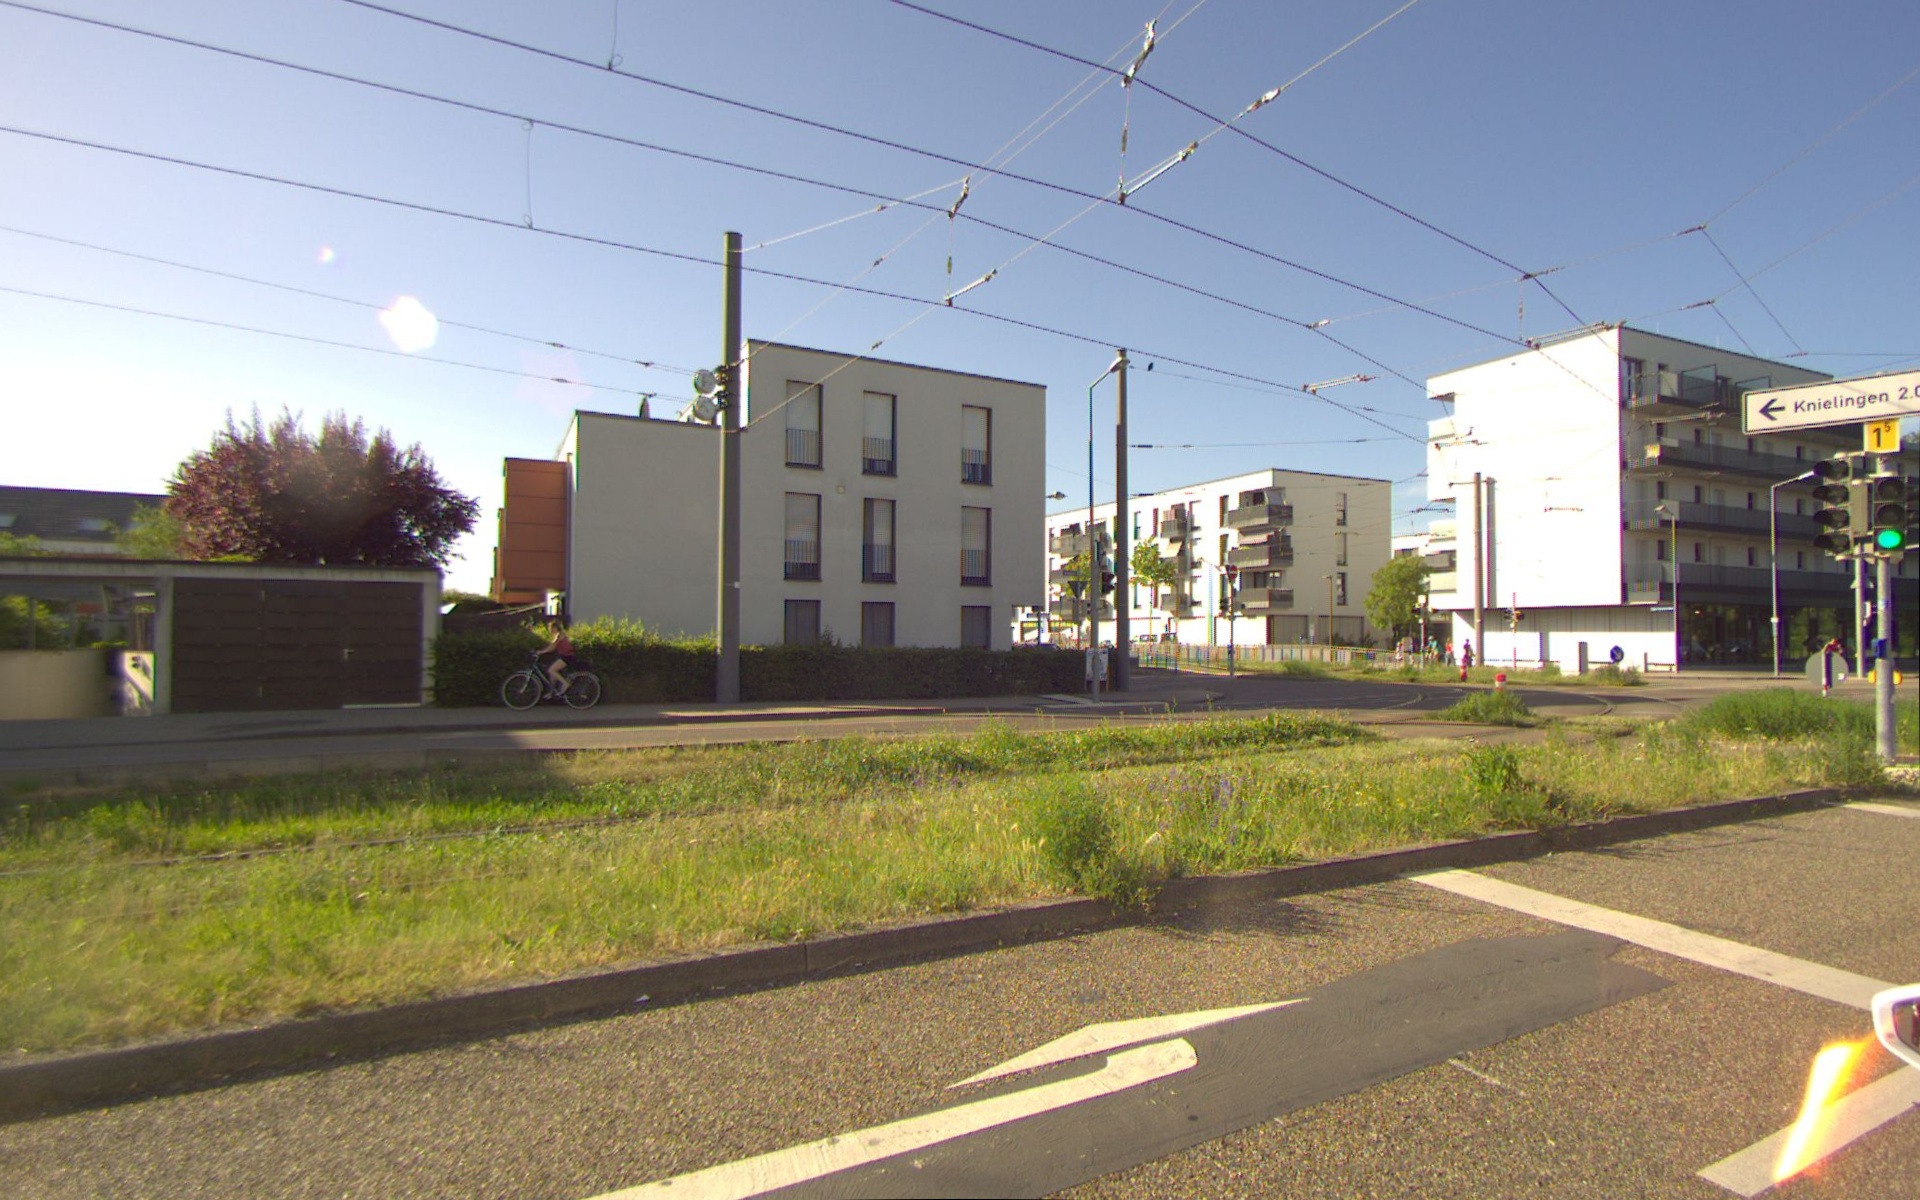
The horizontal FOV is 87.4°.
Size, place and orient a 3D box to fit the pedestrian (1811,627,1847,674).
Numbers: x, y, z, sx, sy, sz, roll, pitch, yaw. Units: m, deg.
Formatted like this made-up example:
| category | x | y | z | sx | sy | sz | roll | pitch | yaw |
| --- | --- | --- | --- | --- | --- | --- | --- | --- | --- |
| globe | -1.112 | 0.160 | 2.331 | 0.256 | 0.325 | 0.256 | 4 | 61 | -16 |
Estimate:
| category | x | y | z | sx | sy | sz | roll | pitch | yaw |
| --- | --- | --- | --- | --- | --- | --- | --- | --- | --- |
| pedestrian | 38.044 | 2.212 | 43.996 | 0.751 | 2.040 | 0.972 | 1 | -2 | -30 |

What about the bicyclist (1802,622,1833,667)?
| category | x | y | z | sx | sy | sz | roll | pitch | yaw |
| --- | --- | --- | --- | --- | --- | --- | --- | --- | --- |
| bicyclist | 39.525 | 2.067 | 46.295 | 0.799 | 2.040 | 0.791 | 1 | -2 | -22 |

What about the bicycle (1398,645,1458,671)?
| category | x | y | z | sx | sy | sz | roll | pitch | yaw |
| --- | --- | --- | --- | --- | --- | --- | --- | --- | --- |
| bicycle | 22.804 | 2.827 | 48.929 | 2.782 | 1.214 | 0.900 | 1 | -2 | -19 |

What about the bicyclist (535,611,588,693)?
| category | x | y | z | sx | sy | sz | roll | pitch | yaw |
| --- | --- | --- | --- | --- | --- | --- | --- | --- | --- |
| bicyclist | -7.601 | 0.987 | 19.138 | 0.738 | 1.510 | 0.883 | 2 | -2 | -35 |

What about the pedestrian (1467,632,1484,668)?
| category | x | y | z | sx | sy | sz | roll | pitch | yaw |
| --- | --- | --- | --- | --- | --- | --- | --- | --- | --- |
| pedestrian | 23.802 | 2.305 | 46.379 | 0.498 | 1.644 | 0.454 | 1 | 0 | -30 |

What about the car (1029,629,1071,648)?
| category | x | y | z | sx | sy | sz | roll | pitch | yaw |
| --- | --- | --- | --- | --- | --- | --- | --- | --- | --- |
| car | 8.097 | 3.448 | 90.804 | 1.973 | 1.574 | 3.975 | 1 | 0 | -25 |

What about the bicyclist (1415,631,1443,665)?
| category | x | y | z | sx | sy | sz | roll | pitch | yaw |
| --- | --- | --- | --- | --- | --- | --- | --- | --- | --- |
| bicyclist | 22.858 | 2.332 | 48.959 | 0.899 | 1.613 | 0.891 | 1 | -2 | -19 |

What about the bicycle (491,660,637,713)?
| category | x | y | z | sx | sy | sz | roll | pitch | yaw |
| --- | --- | --- | --- | --- | --- | --- | --- | --- | --- |
| bicycle | -7.531 | 1.625 | 19.166 | 2.459 | 0.904 | 0.894 | 2 | -3 | -35 |

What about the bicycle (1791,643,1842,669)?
| category | x | y | z | sx | sy | sz | roll | pitch | yaw |
| --- | --- | --- | --- | --- | --- | --- | --- | --- | --- |
| bicycle | 39.503 | 2.576 | 46.333 | 0.734 | 1.159 | 1.635 | 1 | -2 | -22 |

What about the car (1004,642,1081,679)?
| category | x | y | z | sx | sy | sz | roll | pitch | yaw |
| --- | --- | --- | --- | --- | --- | --- | --- | --- | --- |
| car | 3.998 | 2.912 | 49.213 | 1.984 | 1.687 | 3.972 | 1 | -2 | -28 |
